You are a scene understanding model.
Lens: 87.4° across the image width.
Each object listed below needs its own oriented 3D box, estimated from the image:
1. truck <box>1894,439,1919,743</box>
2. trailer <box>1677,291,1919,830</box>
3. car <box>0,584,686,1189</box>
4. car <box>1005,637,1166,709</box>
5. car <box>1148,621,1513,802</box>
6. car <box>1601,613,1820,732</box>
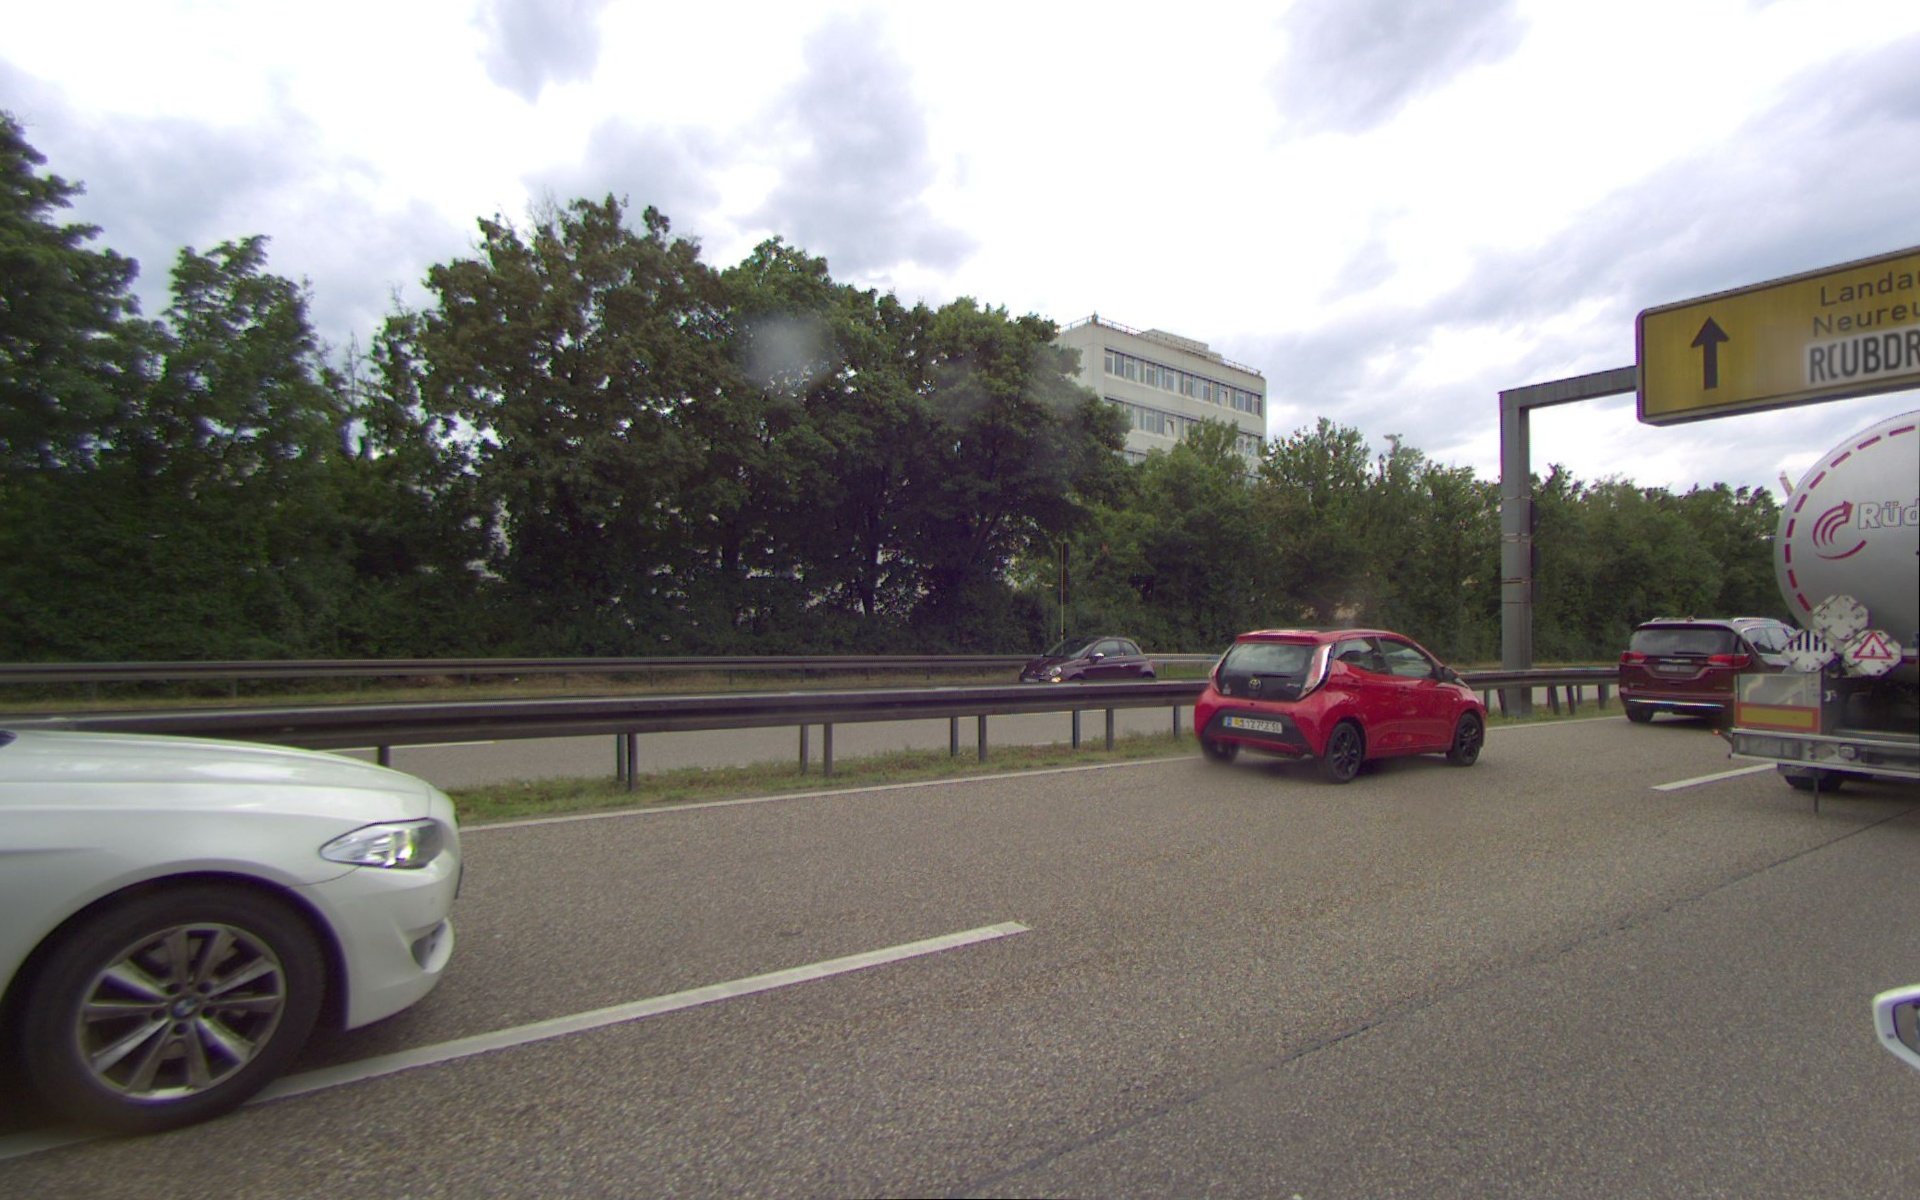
[{"bbox_3d":[15.861,-0.059,14.199,6.870,3.958,2.664,2,-2,-37],"label":"truck"},{"bbox_3d":[11.294,-0.155,10.763,10.883,3.958,2.664,2,-2,-37],"label":"trailer"},{"bbox_3d":[-3.650,0.703,2.793,5.207,1.483,2.044,2,-2,-36],"label":"car"},{"bbox_3d":[2.970,1.647,23.408,3.802,1.516,1.561,2,-2,-40],"label":"car"},{"bbox_3d":[4.007,1.054,10.602,4.050,1.544,1.616,2,-1,-35],"label":"car"},{"bbox_3d":[12.583,1.143,16.771,3.962,1.729,1.863,2,-1,-36],"label":"car"}]
